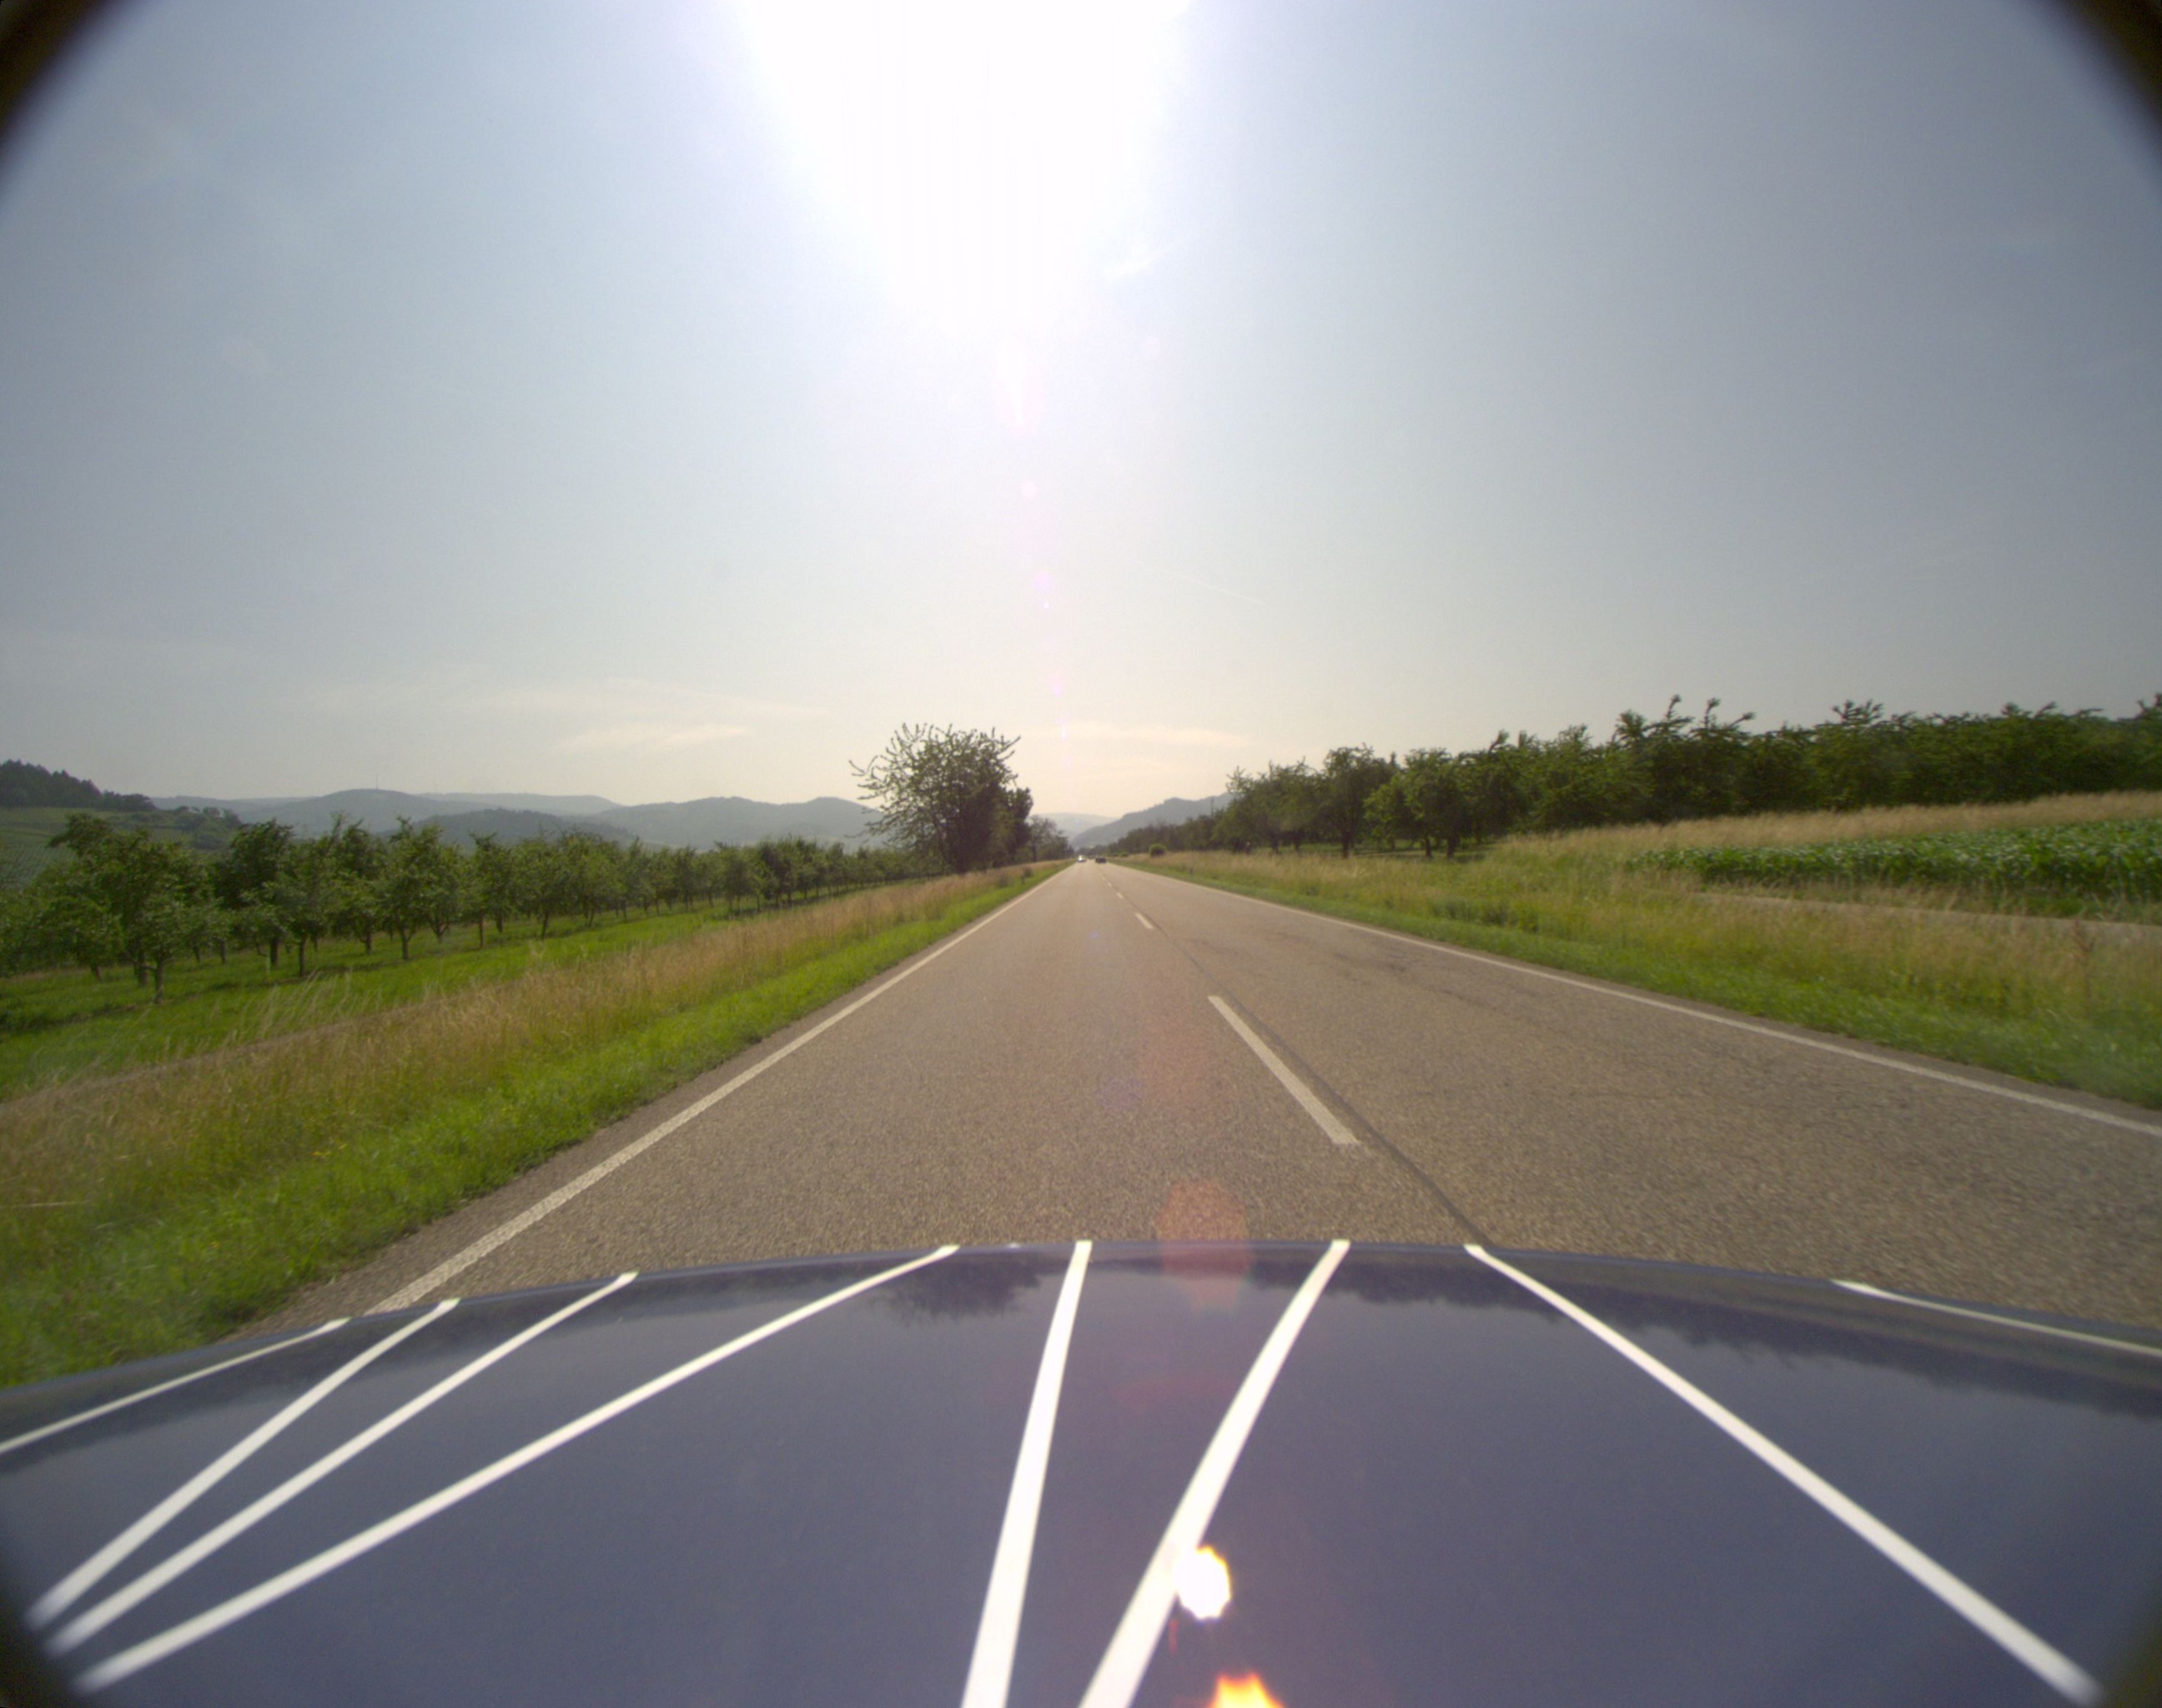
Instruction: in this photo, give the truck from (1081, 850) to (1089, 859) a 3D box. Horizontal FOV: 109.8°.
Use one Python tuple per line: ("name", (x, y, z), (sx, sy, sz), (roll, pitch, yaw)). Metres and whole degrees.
("truck", (1.131, 0.179, 213.602), (2.031, 2.232, 4.765), (-2, 1, 3))
